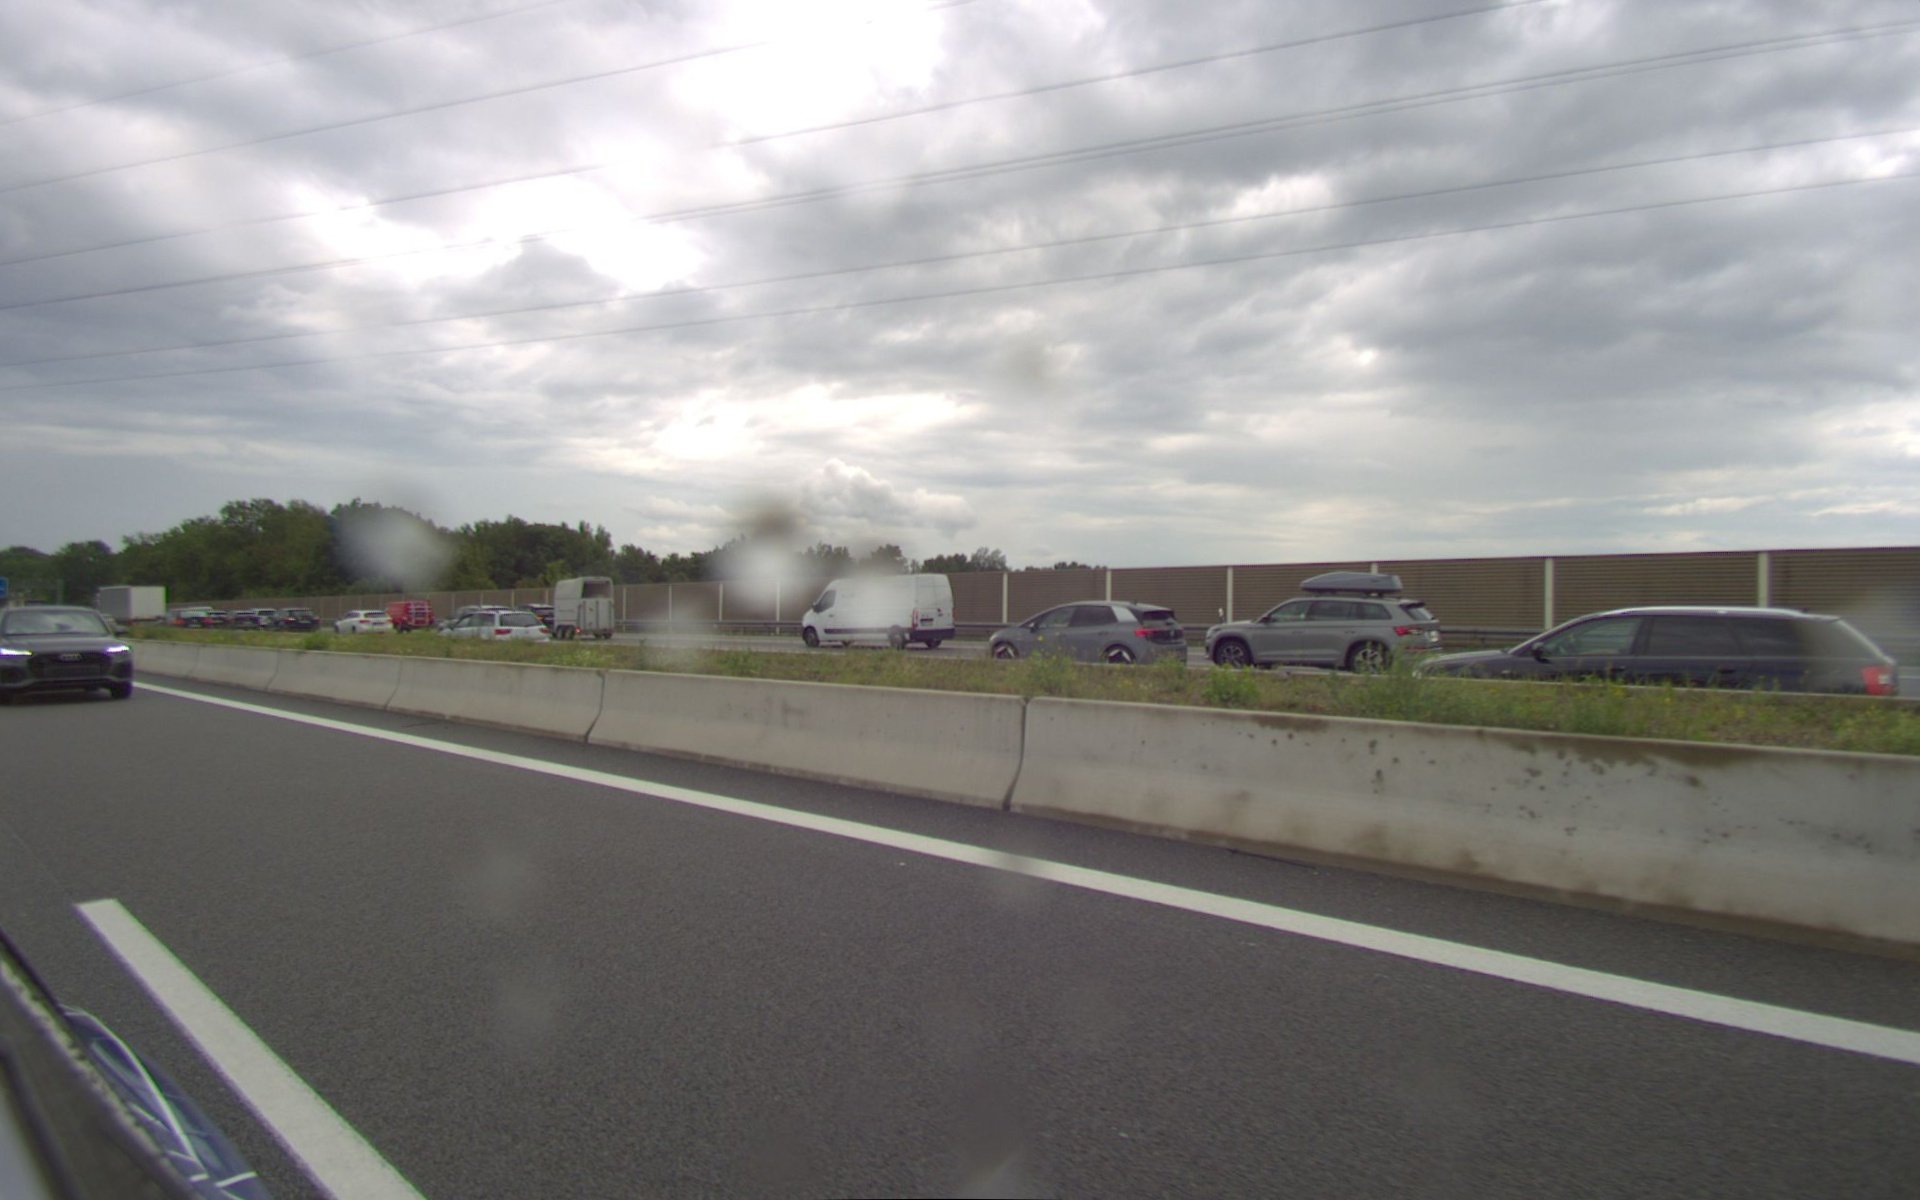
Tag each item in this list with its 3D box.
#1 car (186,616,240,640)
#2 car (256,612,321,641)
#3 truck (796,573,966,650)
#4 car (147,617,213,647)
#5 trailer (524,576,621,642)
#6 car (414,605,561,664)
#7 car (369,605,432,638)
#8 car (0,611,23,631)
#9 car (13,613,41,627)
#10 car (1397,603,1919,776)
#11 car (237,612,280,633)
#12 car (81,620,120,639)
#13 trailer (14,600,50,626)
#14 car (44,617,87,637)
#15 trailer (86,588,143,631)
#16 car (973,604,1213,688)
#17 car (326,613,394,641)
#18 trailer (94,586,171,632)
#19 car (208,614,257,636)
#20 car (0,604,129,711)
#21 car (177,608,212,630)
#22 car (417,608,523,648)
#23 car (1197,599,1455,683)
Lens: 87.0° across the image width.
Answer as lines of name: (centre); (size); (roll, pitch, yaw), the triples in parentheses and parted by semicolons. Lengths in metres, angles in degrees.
car: (-48.802, 1.801, 66.097); (4.939, 1.465, 1.747); (-1, 0, 40)
car: (-35.598, 1.388, 53.630); (4.230, 1.465, 1.747); (-1, 0, 40)
truck: (-2.862, 0.394, 35.163); (6.260, 2.470, 2.081); (-1, 0, 41)
car: (-41.784, 1.678, 54.173); (4.939, 1.465, 1.808); (-1, 0, 40)
trailer: (-18.479, 0.421, 48.209); (4.897, 2.984, 2.225); (-1, 0, 40)
car: (-13.534, 0.940, 28.881); (4.736, 1.538, 1.974); (-1, -1, 39)
car: (-34.547, 1.314, 62.453); (4.939, 1.982, 1.747); (-1, 0, 40)
car: (-97.206, 2.141, 103.181); (5.157, 1.914, 1.903); (-1, 0, 40)
car: (-107.551, 2.322, 116.602); (5.157, 1.548, 1.747); (-1, 0, 40)
car: (7.264, 0.795, 10.681); (4.561, 1.465, 1.769); (-1, 0, 40)
car: (-58.261, 1.843, 84.038); (4.939, 1.622, 1.747); (-1, 0, 40)
car: (-73.658, 2.528, 86.699); (5.157, 1.548, 1.747); (-1, 0, 40)
trailer: (-149.109, 2.063, 162.499); (14.045, 3.993, 2.650); (-1, 0, 41)
car: (-67.581, 2.032, 76.423); (5.082, 1.465, 1.747); (-1, 0, 40)
trailer: (-83.393, 0.938, 99.789); (6.075, 4.074, 3.285); (-1, 0, 40)
car: (2.581, 0.858, 20.350); (4.561, 1.465, 1.769); (-1, 0, 40)
car: (-33.365, 1.471, 56.200); (4.939, 1.465, 1.747); (-1, 0, 40)
trailer: (-77.909, 0.859, 95.087); (13.279, 4.092, 3.285); (-1, 0, 41)
car: (-53.154, 1.812, 73.941); (4.939, 1.465, 1.747); (-1, 0, 40)
car: (-16.778, 0.957, 18.442); (5.169, 1.704, 1.888); (-1, -1, 43)
car: (-73.303, 1.838, 96.894); (3.999, 2.029, 1.981); (-1, 0, 42)
car: (-19.351, 1.072, 39.858); (4.939, 1.465, 1.945); (-1, 0, 40)
car: (7.292, 0.767, 20.442); (4.561, 1.480, 1.769); (-1, 0, 40)
